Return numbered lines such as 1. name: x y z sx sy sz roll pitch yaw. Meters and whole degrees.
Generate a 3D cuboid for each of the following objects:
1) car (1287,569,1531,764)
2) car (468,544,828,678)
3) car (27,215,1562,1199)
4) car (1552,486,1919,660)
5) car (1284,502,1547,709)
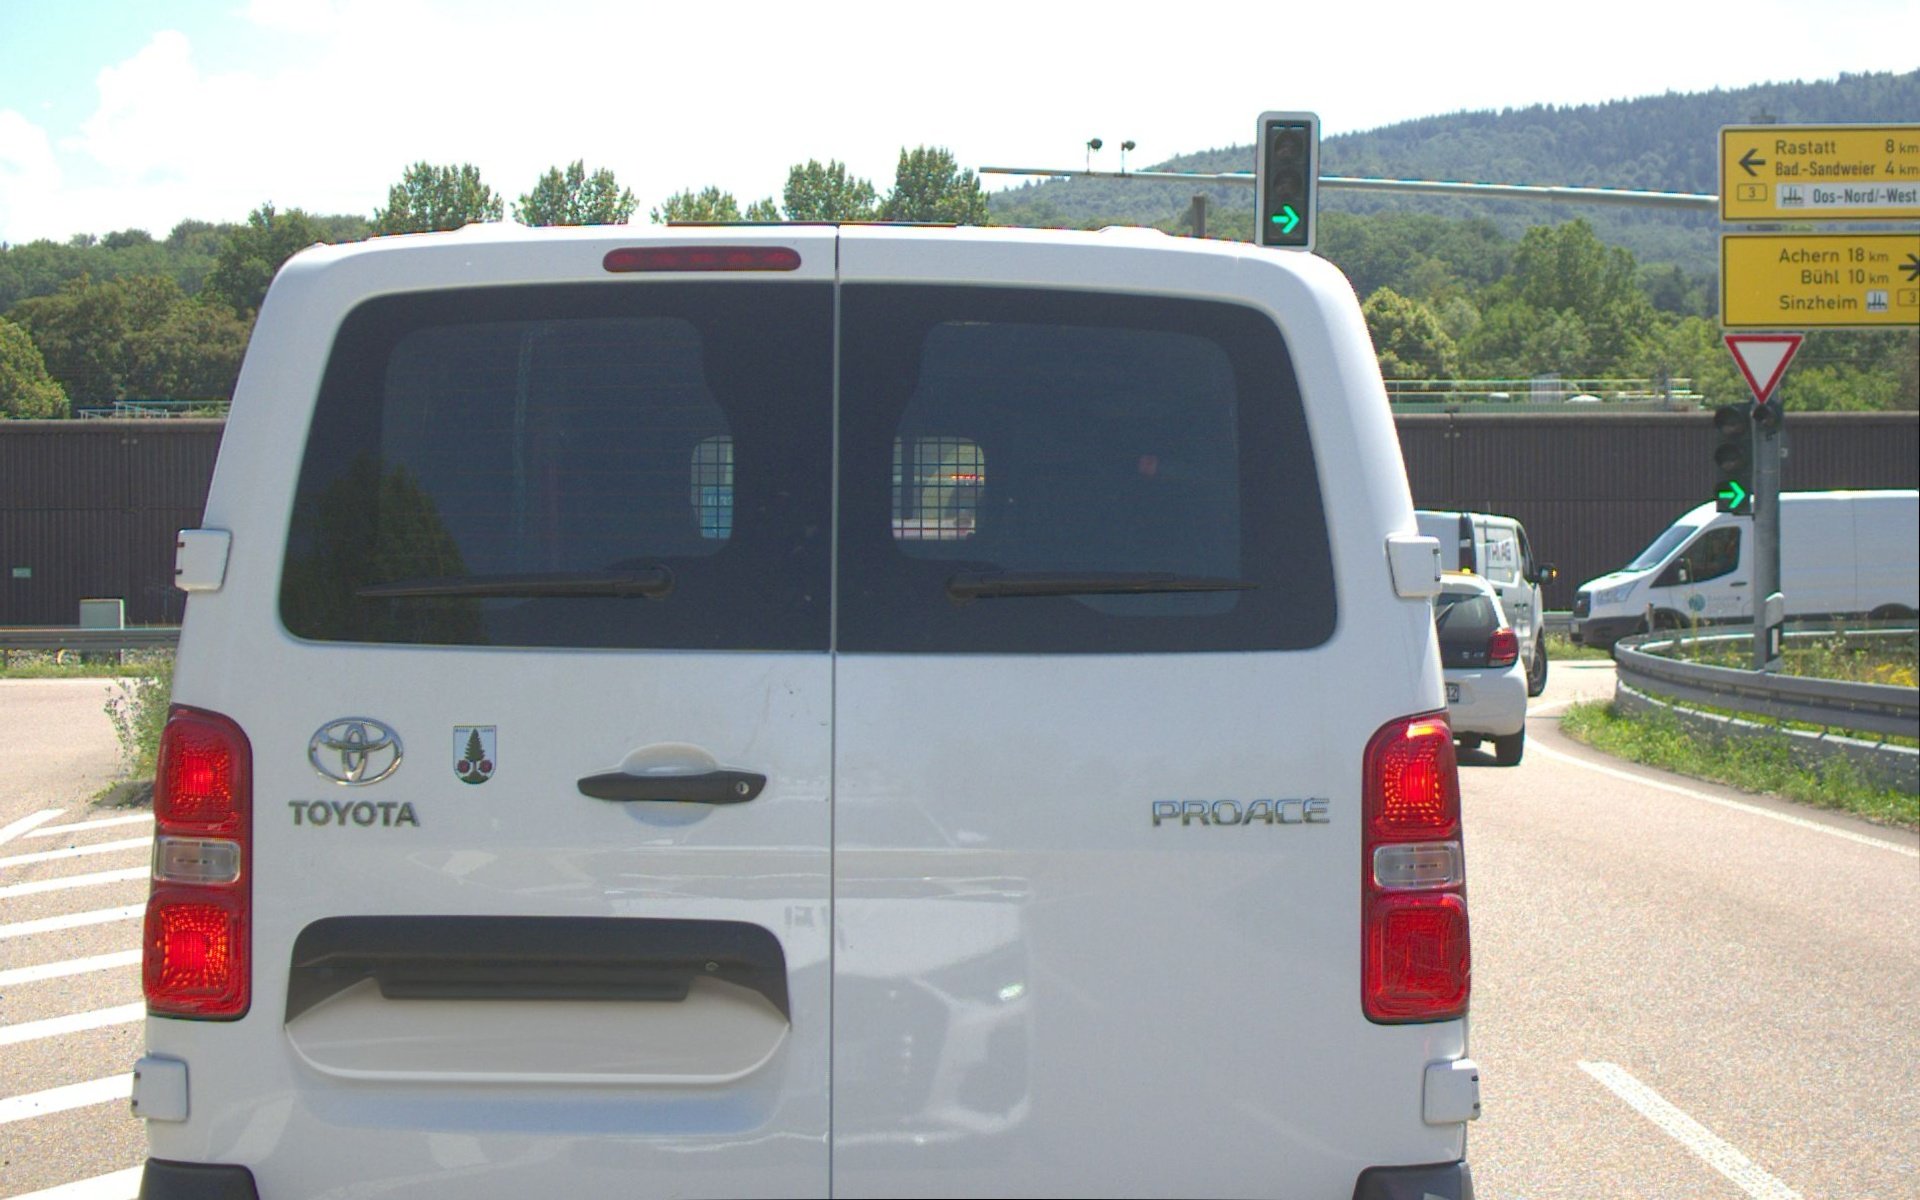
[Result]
1. car: 3.493 0.479 27.201 1.656 1.426 3.365 1 1 3
2. car: -4.018 0.117 44.649 4.312 1.651 1.999 0 1 -42
3. car: -0.248 0.456 6.259 1.886 1.880 4.000 1 1 -1
4. car: 11.368 -0.388 49.302 5.344 2.442 2.040 0 1 -2
5. car: 4.836 0.029 35.921 1.930 1.993 4.833 1 1 17
